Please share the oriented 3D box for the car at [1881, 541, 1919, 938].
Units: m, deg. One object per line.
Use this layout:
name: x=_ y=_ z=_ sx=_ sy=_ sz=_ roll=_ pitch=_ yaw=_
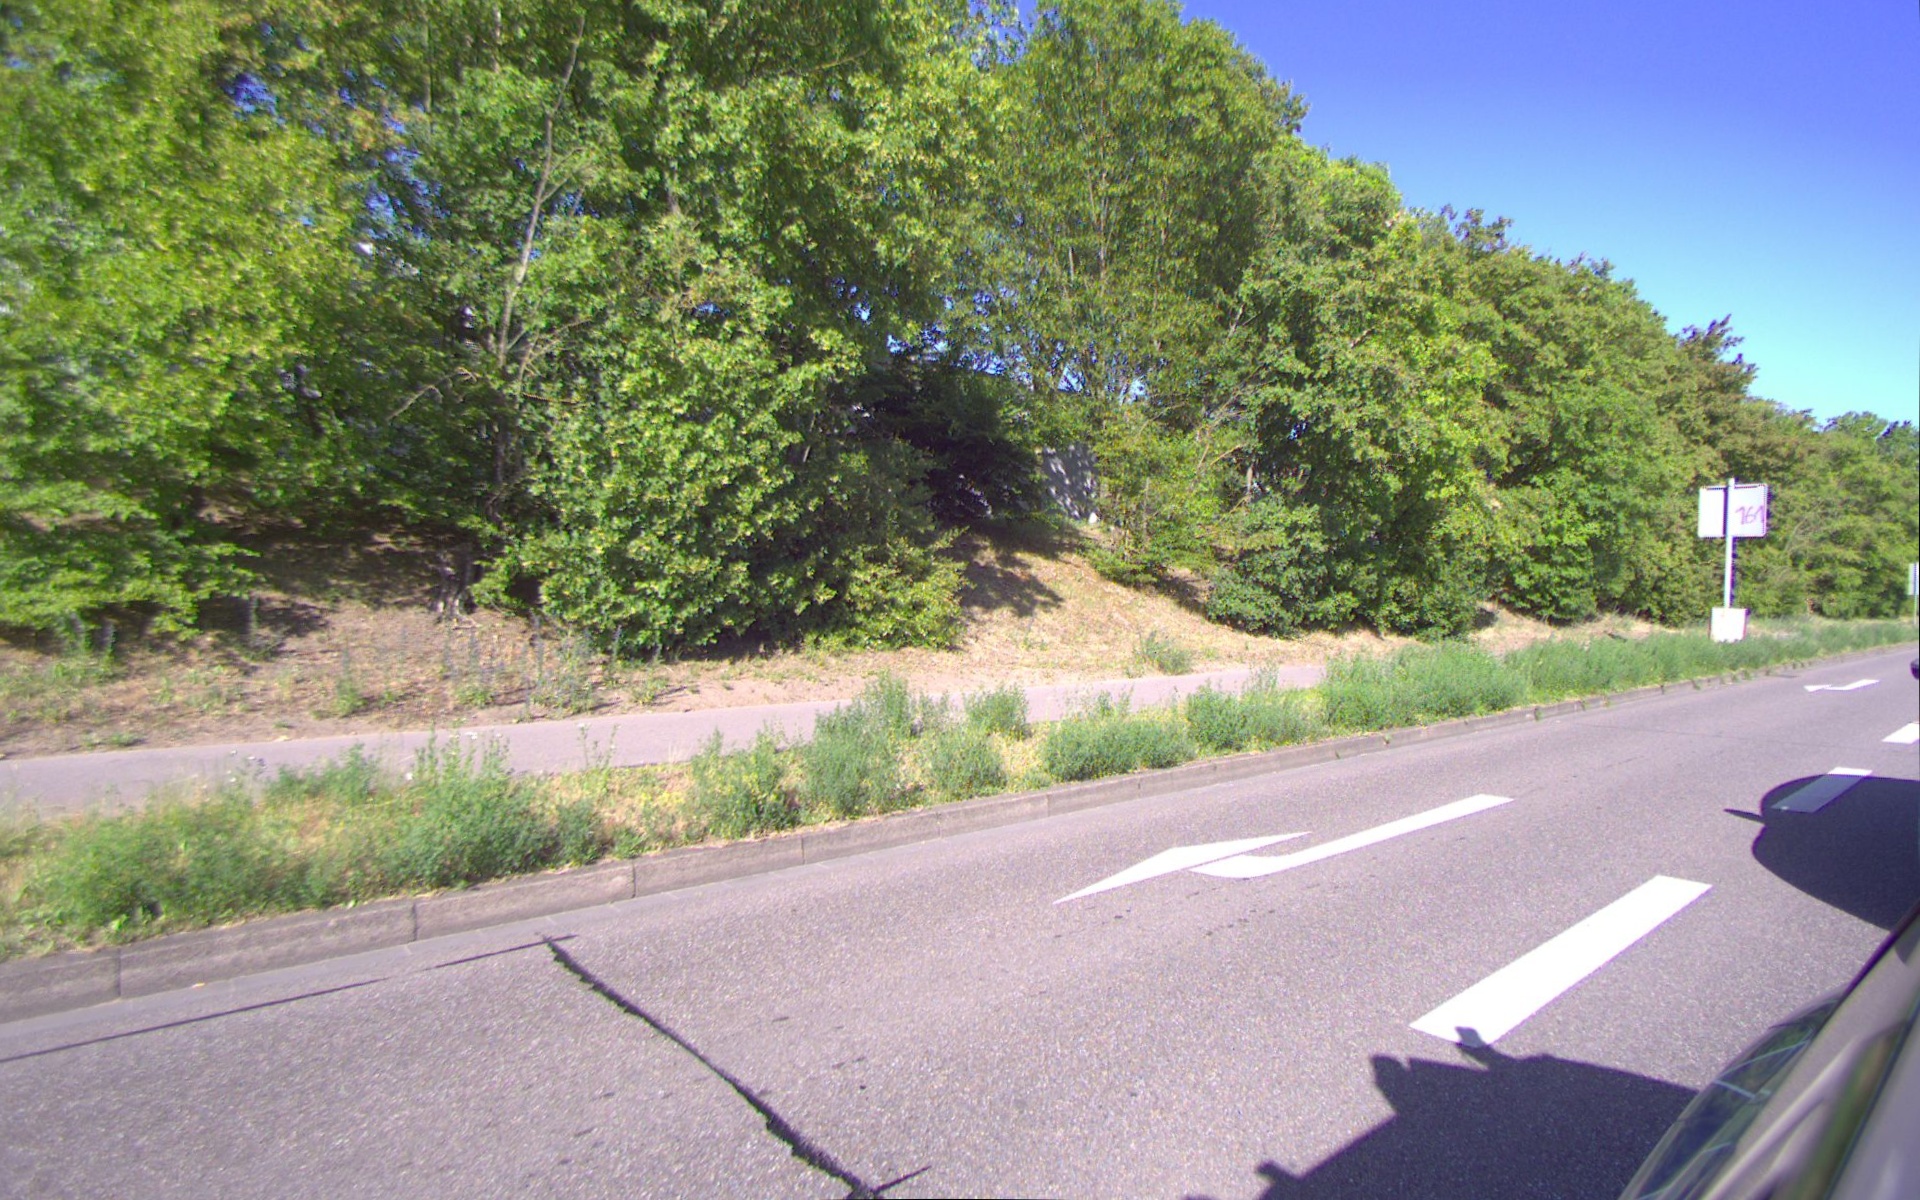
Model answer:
car: x=6.042 y=0.582 z=4.800 sx=4.026 sy=1.631 sz=2.023 roll=0 pitch=0 yaw=-41
